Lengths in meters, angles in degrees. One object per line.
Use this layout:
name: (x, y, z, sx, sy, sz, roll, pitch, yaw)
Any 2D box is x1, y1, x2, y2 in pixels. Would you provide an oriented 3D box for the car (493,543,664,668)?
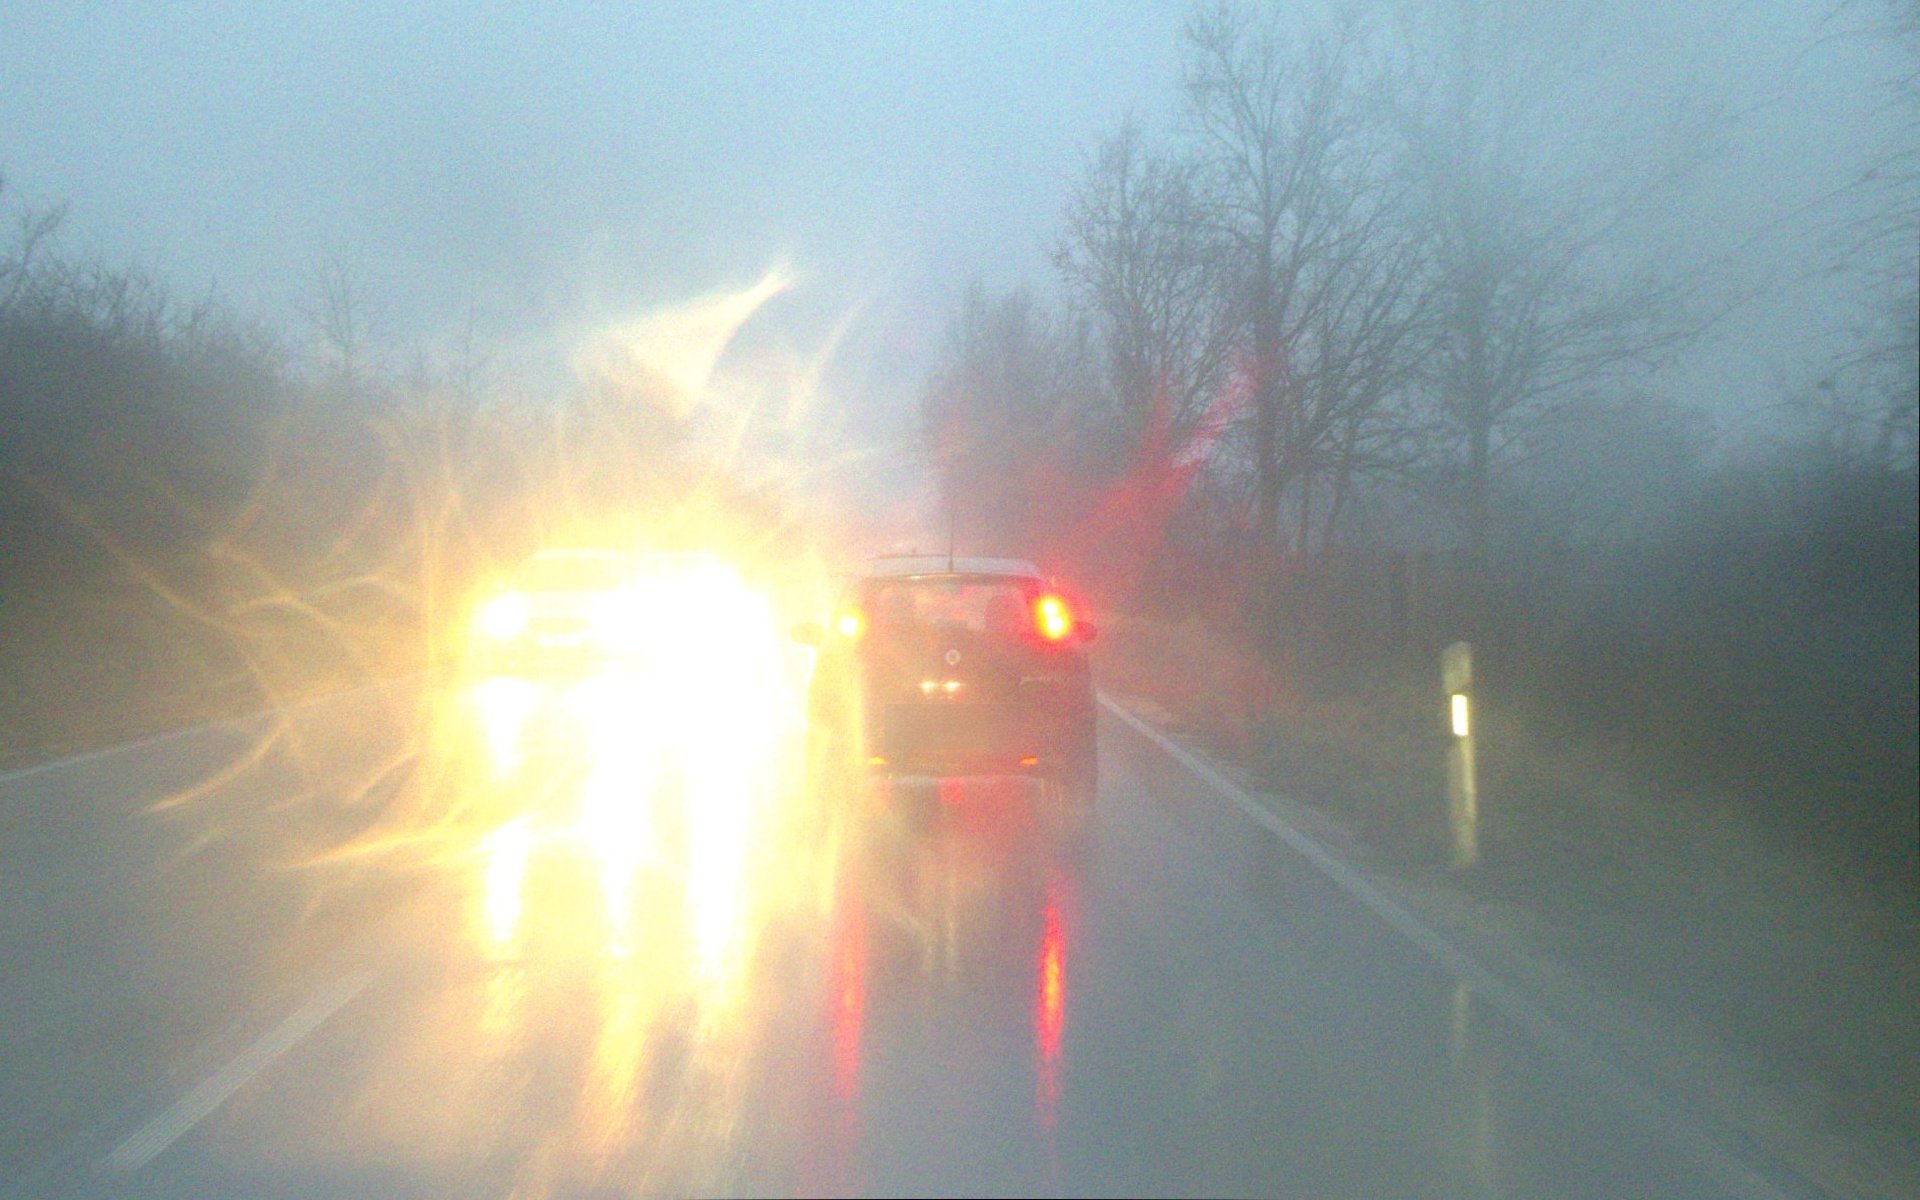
car: (-4.754, 0.036, 43.302, 1.825, 1.493, 4.096, 0, 1, -2)

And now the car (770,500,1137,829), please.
car: (-0.015, 0.329, 21.002, 1.993, 1.778, 4.000, 1, 1, 1)

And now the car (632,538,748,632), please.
car: (-4.971, -0.299, 63.780, 1.758, 1.635, 4.686, 1, 1, 0)

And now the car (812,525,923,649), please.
car: (-1.432, -0.229, 54.401, 1.574, 1.868, 3.709, 1, 1, 1)
